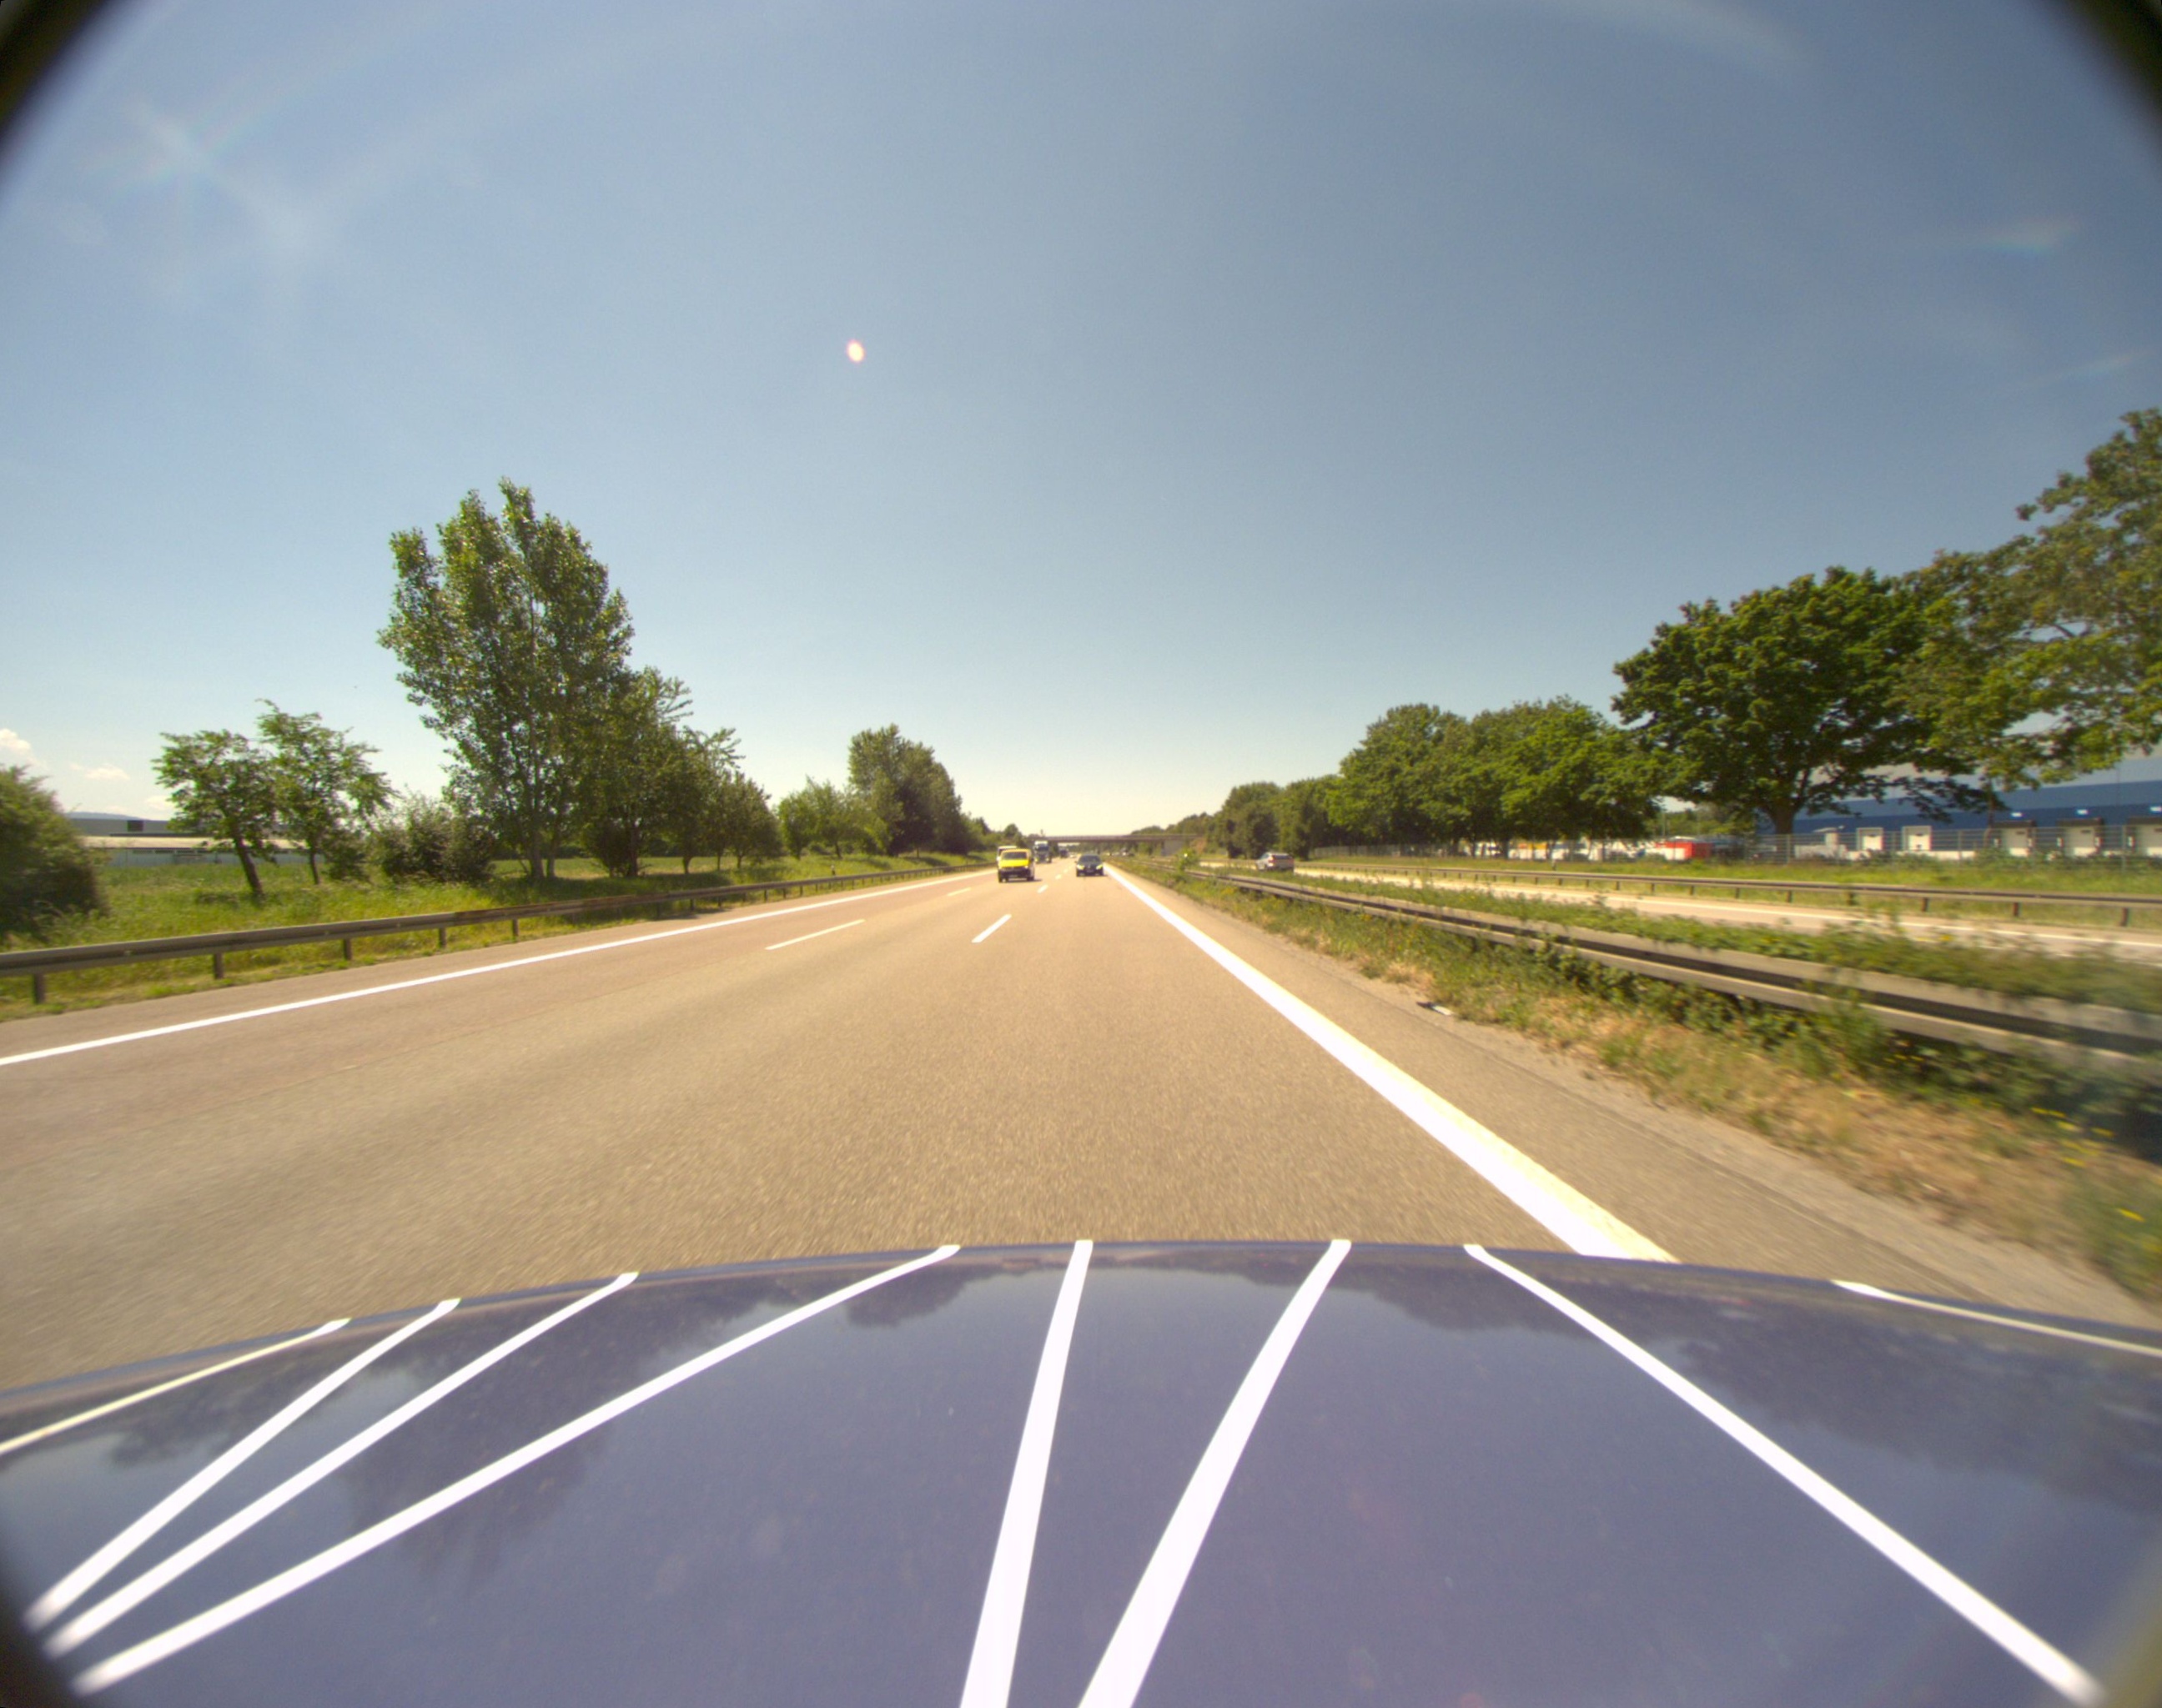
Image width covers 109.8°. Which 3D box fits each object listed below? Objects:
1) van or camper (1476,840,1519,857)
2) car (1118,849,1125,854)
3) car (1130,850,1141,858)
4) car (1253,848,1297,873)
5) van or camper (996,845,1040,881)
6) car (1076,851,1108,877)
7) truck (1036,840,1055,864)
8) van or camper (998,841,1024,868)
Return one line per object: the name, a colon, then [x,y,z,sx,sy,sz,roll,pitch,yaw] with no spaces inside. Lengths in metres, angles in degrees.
van or camper: [65.304,-0.852,119.331,2.363,2.537,7.724,0,0,-1]
car: [12.216,-0.763,230.902,1.998,1.630,4.572,-3,0,1]
car: [12.076,-0.064,168.218,1.998,1.630,4.859,3,1,1]
car: [13.595,0.439,53.557,1.850,1.672,4.814,1,1,1]
van or camper: [-3.793,0.513,46.508,2.063,1.992,5.883,-2,0,1]
car: [0.648,0.605,48.287,1.894,1.541,4.038,1,0,-1]
truck: [-6.380,-0.337,139.860,2.806,4.022,13.352,-3,0,0]
van or camper: [-7.509,0.049,82.228,2.119,2.687,6.366,-2,0,0]
